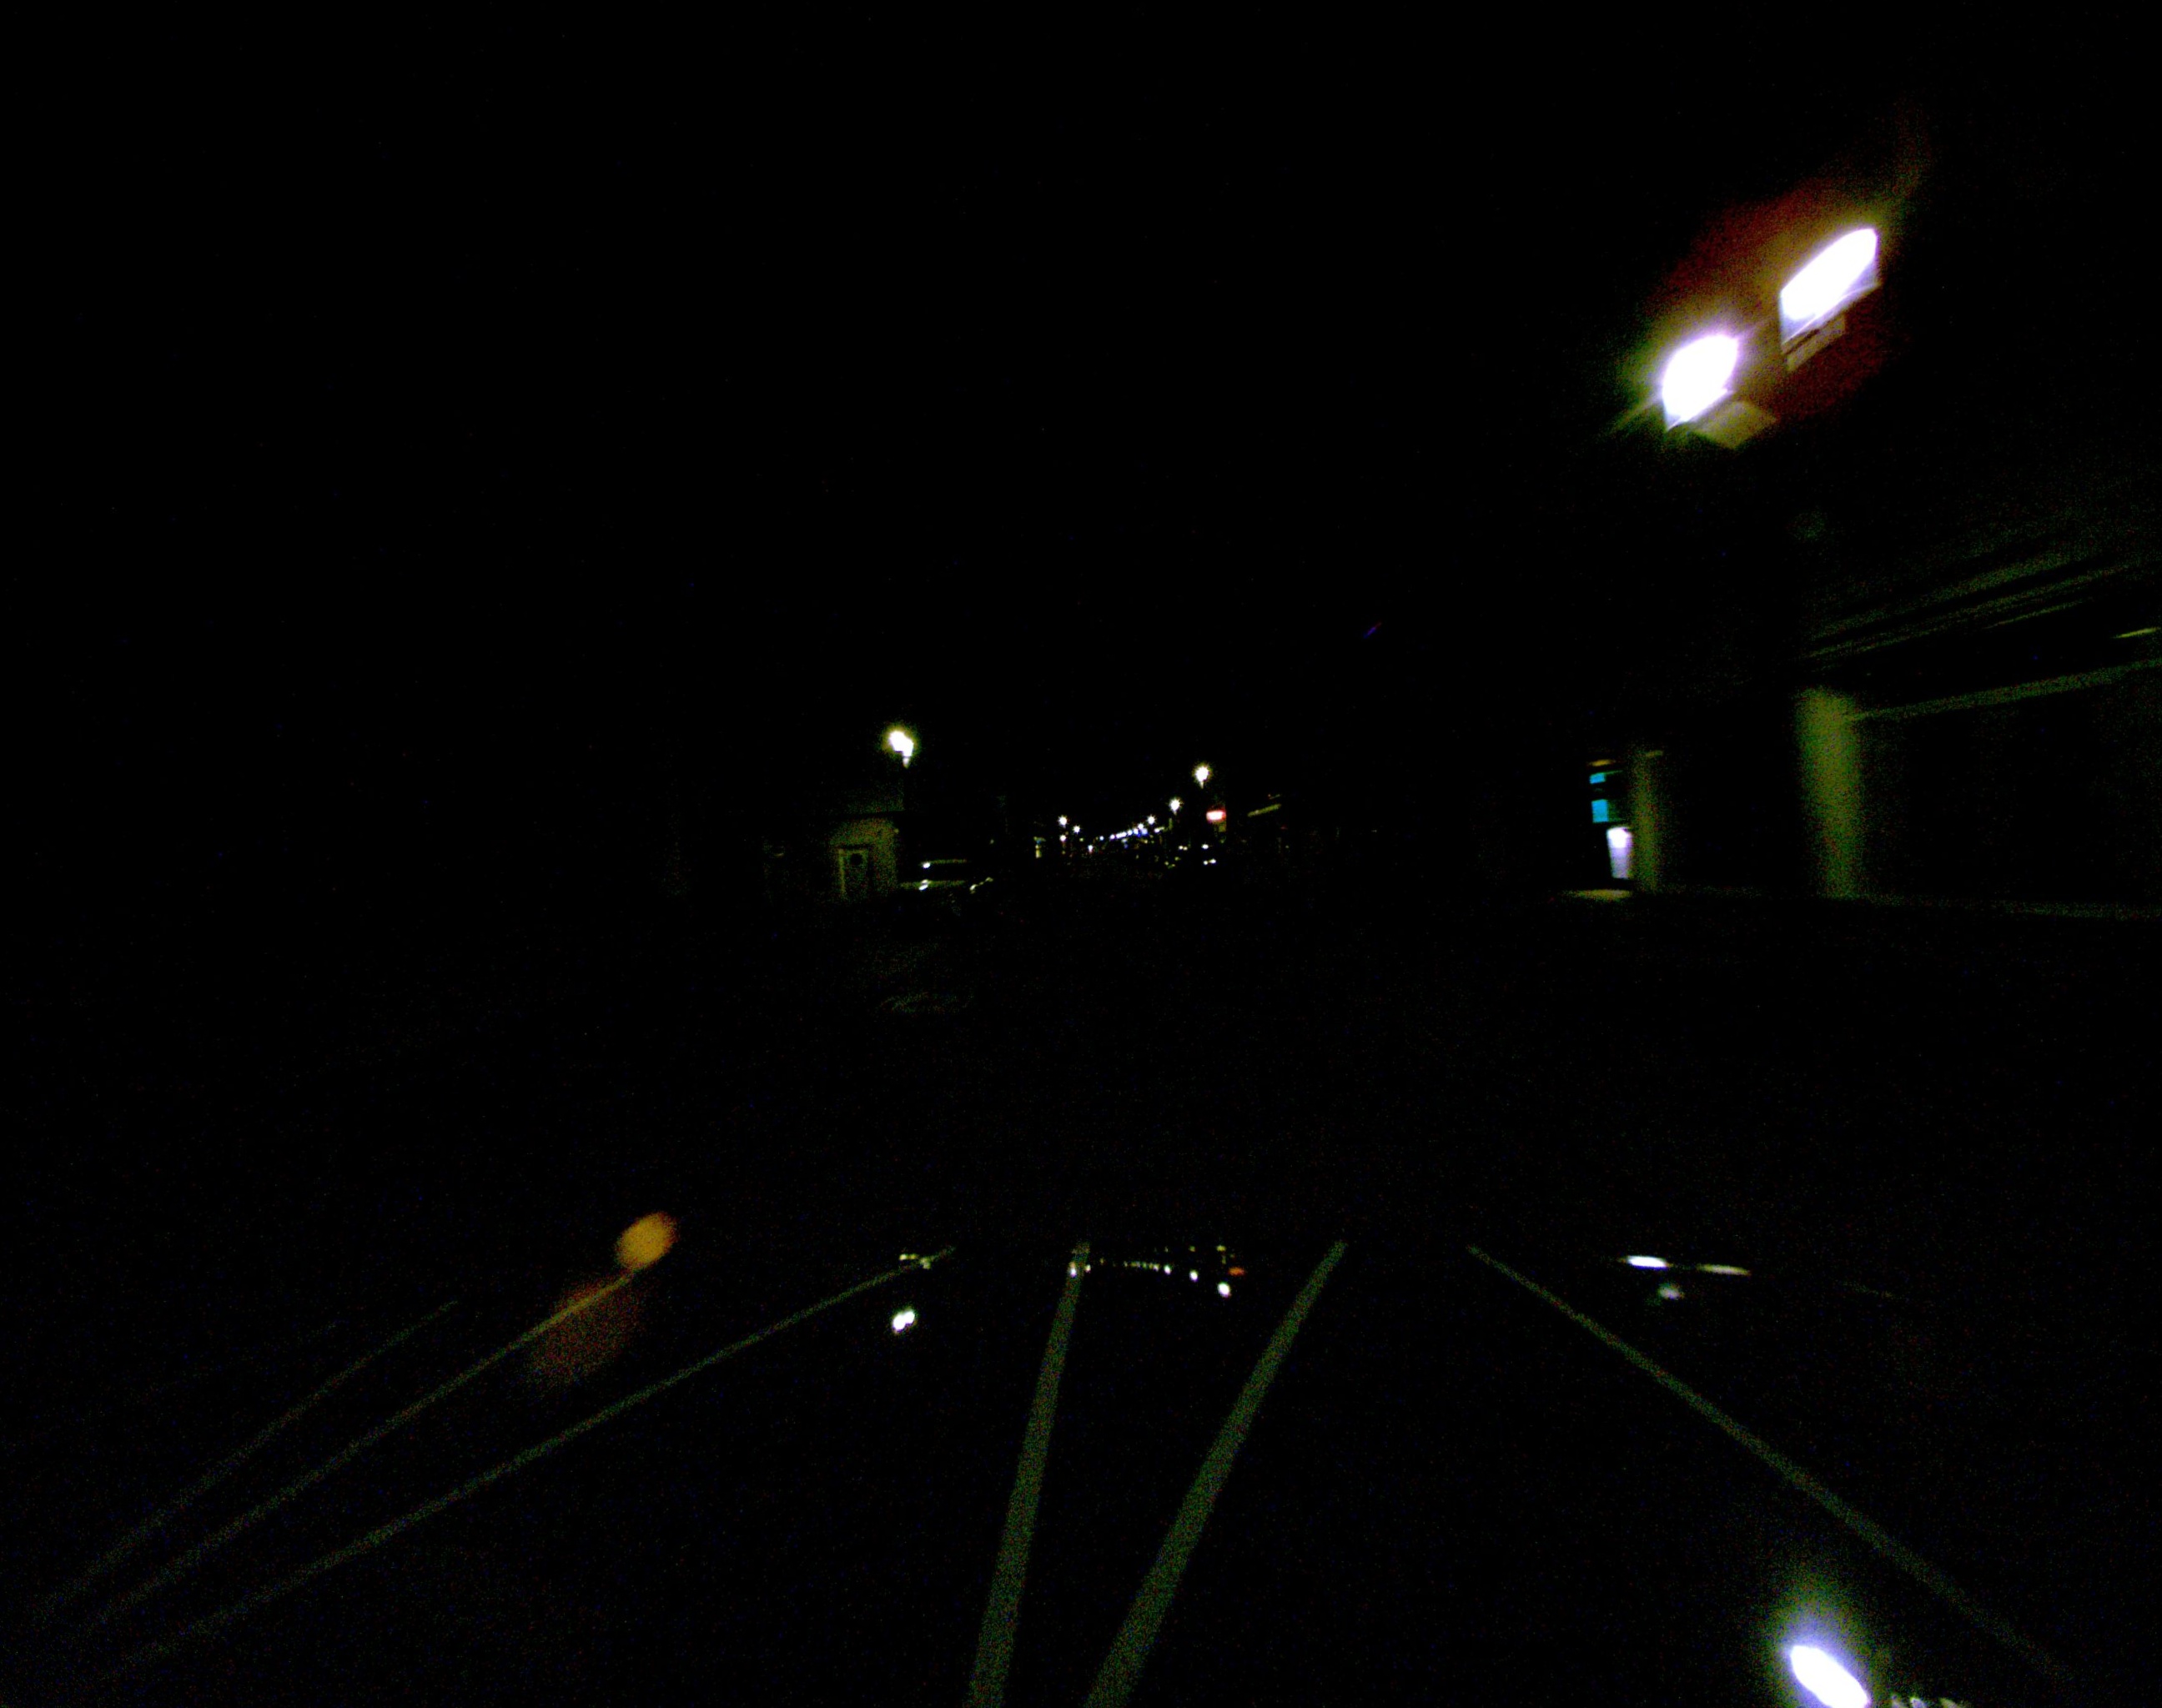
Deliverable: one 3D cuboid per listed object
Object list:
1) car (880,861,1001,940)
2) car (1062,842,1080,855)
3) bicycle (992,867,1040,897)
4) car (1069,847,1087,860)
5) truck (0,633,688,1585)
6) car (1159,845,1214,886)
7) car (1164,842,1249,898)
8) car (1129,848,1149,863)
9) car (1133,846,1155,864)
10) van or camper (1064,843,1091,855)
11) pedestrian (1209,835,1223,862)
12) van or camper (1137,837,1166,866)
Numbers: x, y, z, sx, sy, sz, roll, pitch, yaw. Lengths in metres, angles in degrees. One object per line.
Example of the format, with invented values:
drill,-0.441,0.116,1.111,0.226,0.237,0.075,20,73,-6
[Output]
car,-3.111,0.975,17.655,1.793,1.483,4.059,-2,0,3
car,-1.221,-0.680,90.214,1.664,1.369,4.104,-2,1,5
bicycle,-2.509,1.089,29.459,1.759,1.056,0.346,-3,1,0
car,-0.340,-0.055,97.169,1.757,1.455,4.467,-2,1,5
truck,-3.806,0.660,1.946,2.342,2.298,5.780,-3,0,1
car,4.302,0.422,31.461,1.733,1.468,3.846,-5,0,1
car,4.094,0.459,25.643,2.024,1.479,5.007,-7,0,1
car,6.379,0.147,83.838,1.801,1.469,4.321,-5,1,1
car,5.644,0.049,68.698,1.721,1.404,4.385,-5,0,3
van or camper,-0.806,-1.231,178.495,6.059,2.519,2.158,-4,1,-29
pedestrian,8.911,-0.365,50.190,0.622,1.735,1.023,-4,1,2
van or camper,5.397,-0.232,57.474,1.849,1.930,5.155,-5,0,8
